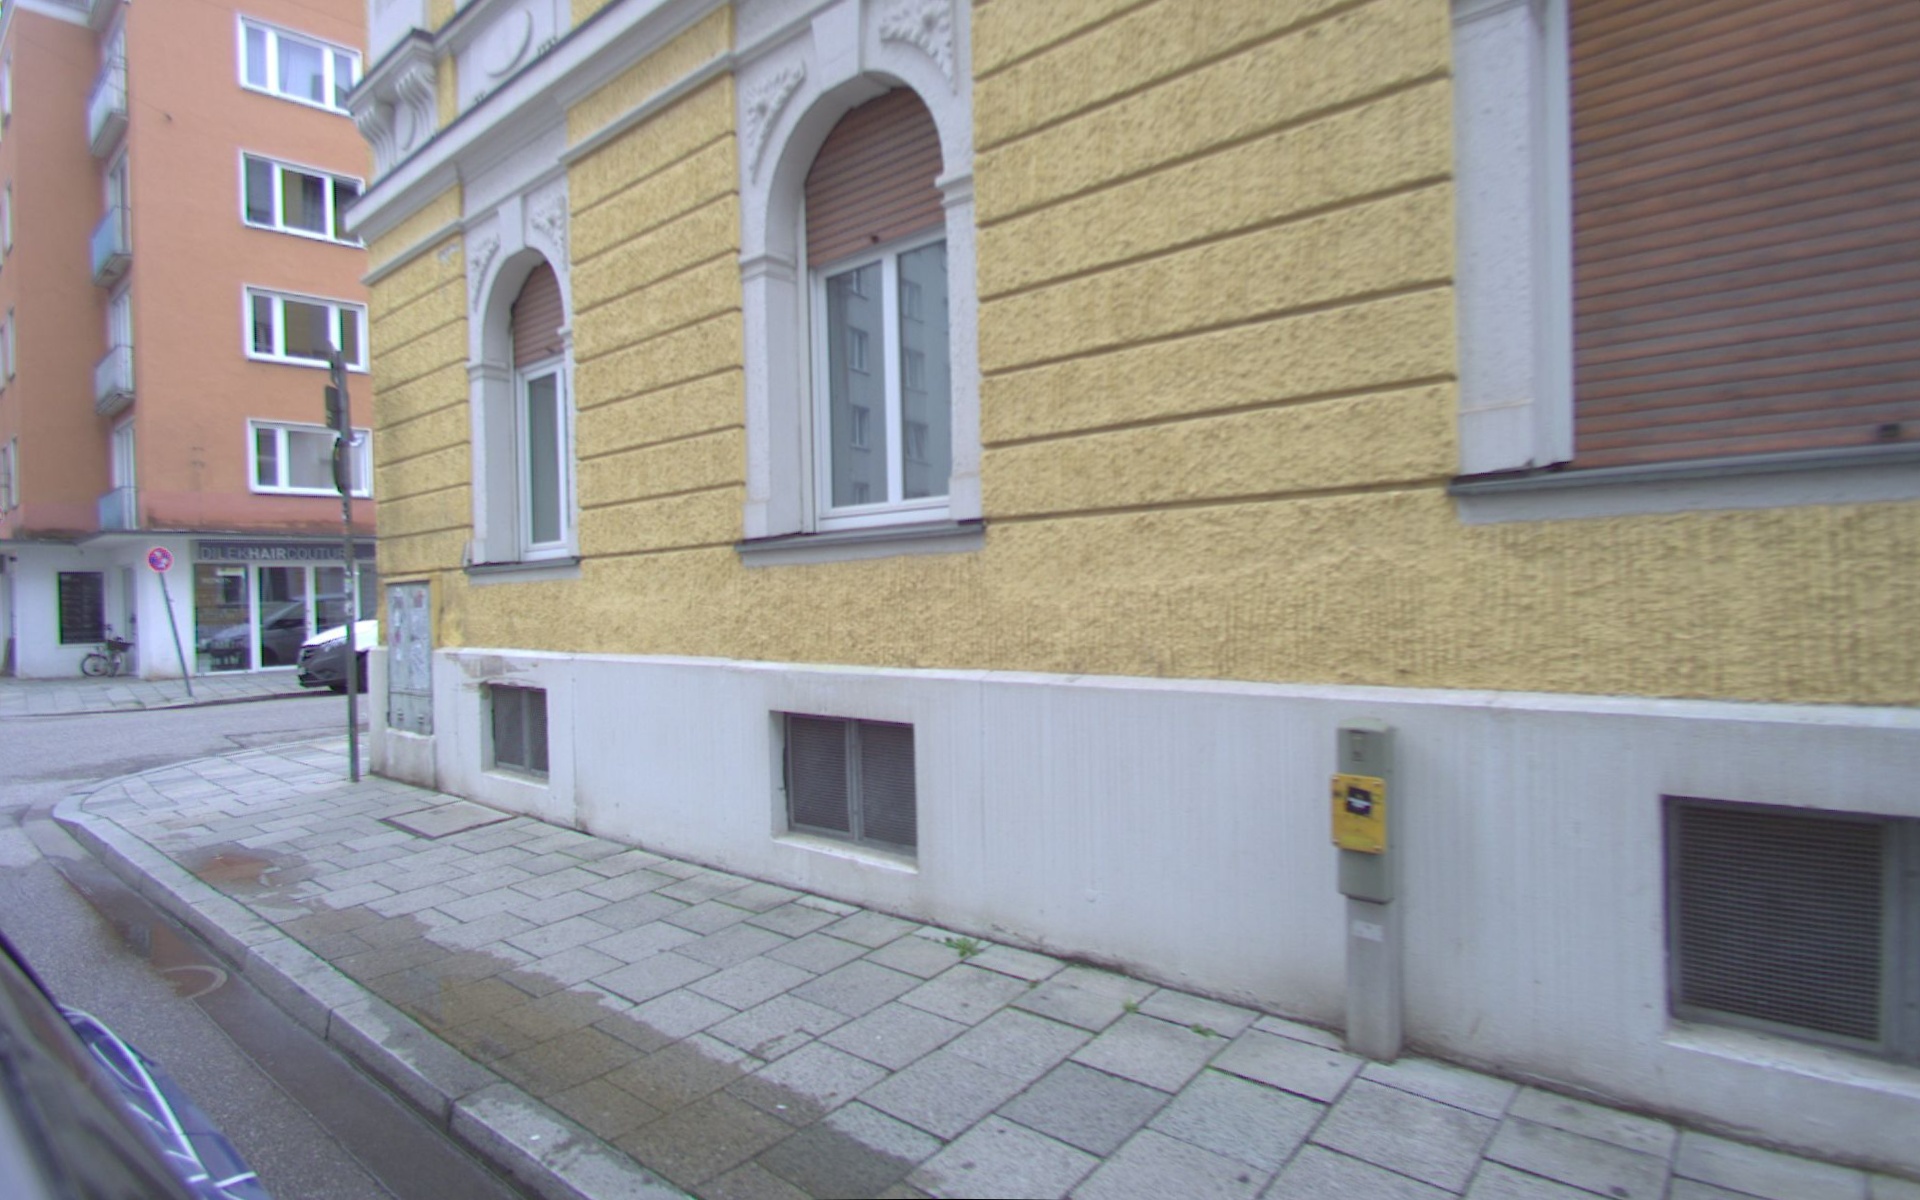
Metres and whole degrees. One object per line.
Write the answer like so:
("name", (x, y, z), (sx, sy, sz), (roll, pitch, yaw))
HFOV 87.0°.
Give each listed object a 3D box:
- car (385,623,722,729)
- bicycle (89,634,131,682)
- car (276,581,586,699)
("car", (-5.452, 0.940, 13.948), (1.573, 1.135, 4.026), (-1, 0, 43))
("bicycle", (-17.806, 1.201, 21.200), (1.513, 0.936, 0.465), (-1, 0, 42))
("car", (-9.504, 0.684, 18.468), (1.934, 1.861, 4.615), (-6, -4, 44))
